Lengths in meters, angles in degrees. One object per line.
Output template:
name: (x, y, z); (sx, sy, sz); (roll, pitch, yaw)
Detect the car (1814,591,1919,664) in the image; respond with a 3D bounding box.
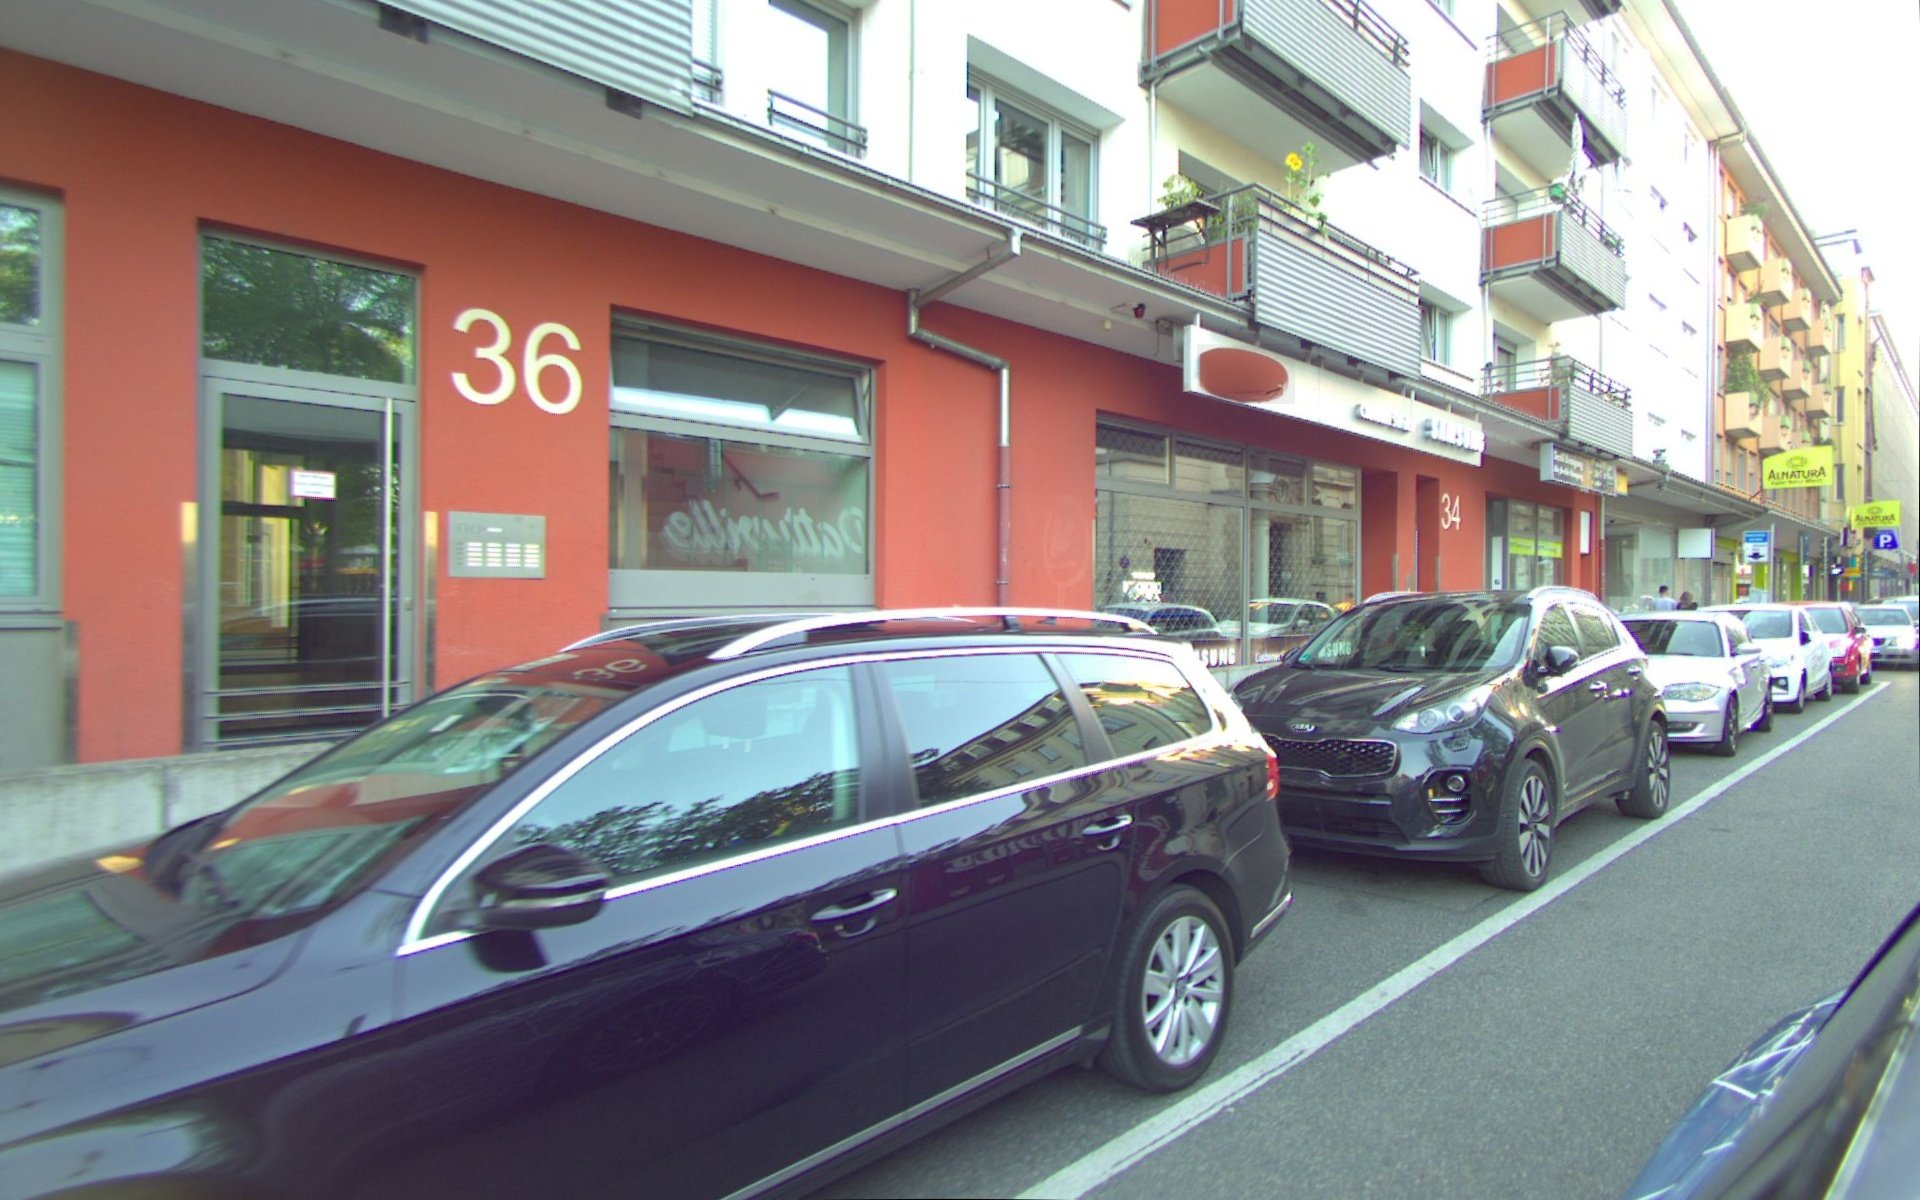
car: (20.830, 0.581, 22.699); (4.225, 1.496, 1.895); (0, -1, -41)

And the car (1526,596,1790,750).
car: (7.921, 0.683, 11.343); (1.748, 1.421, 3.903); (-2, -1, 45)

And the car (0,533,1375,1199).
car: (-0.820, 0.711, 2.925); (4.549, 1.572, 1.877); (0, -1, -41)

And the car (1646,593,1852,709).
car: (11.757, 0.665, 14.996); (3.880, 1.496, 1.765); (0, -1, -42)

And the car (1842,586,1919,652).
car: (24.951, 0.469, 26.535); (4.288, 1.637, 1.998); (0, -1, -39)

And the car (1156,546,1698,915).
car: (3.322, 0.622, 6.817); (4.067, 1.721, 1.881); (0, -1, -43)

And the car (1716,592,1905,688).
car: (15.058, 0.635, 17.838); (4.317, 1.496, 1.865); (0, -1, -41)
